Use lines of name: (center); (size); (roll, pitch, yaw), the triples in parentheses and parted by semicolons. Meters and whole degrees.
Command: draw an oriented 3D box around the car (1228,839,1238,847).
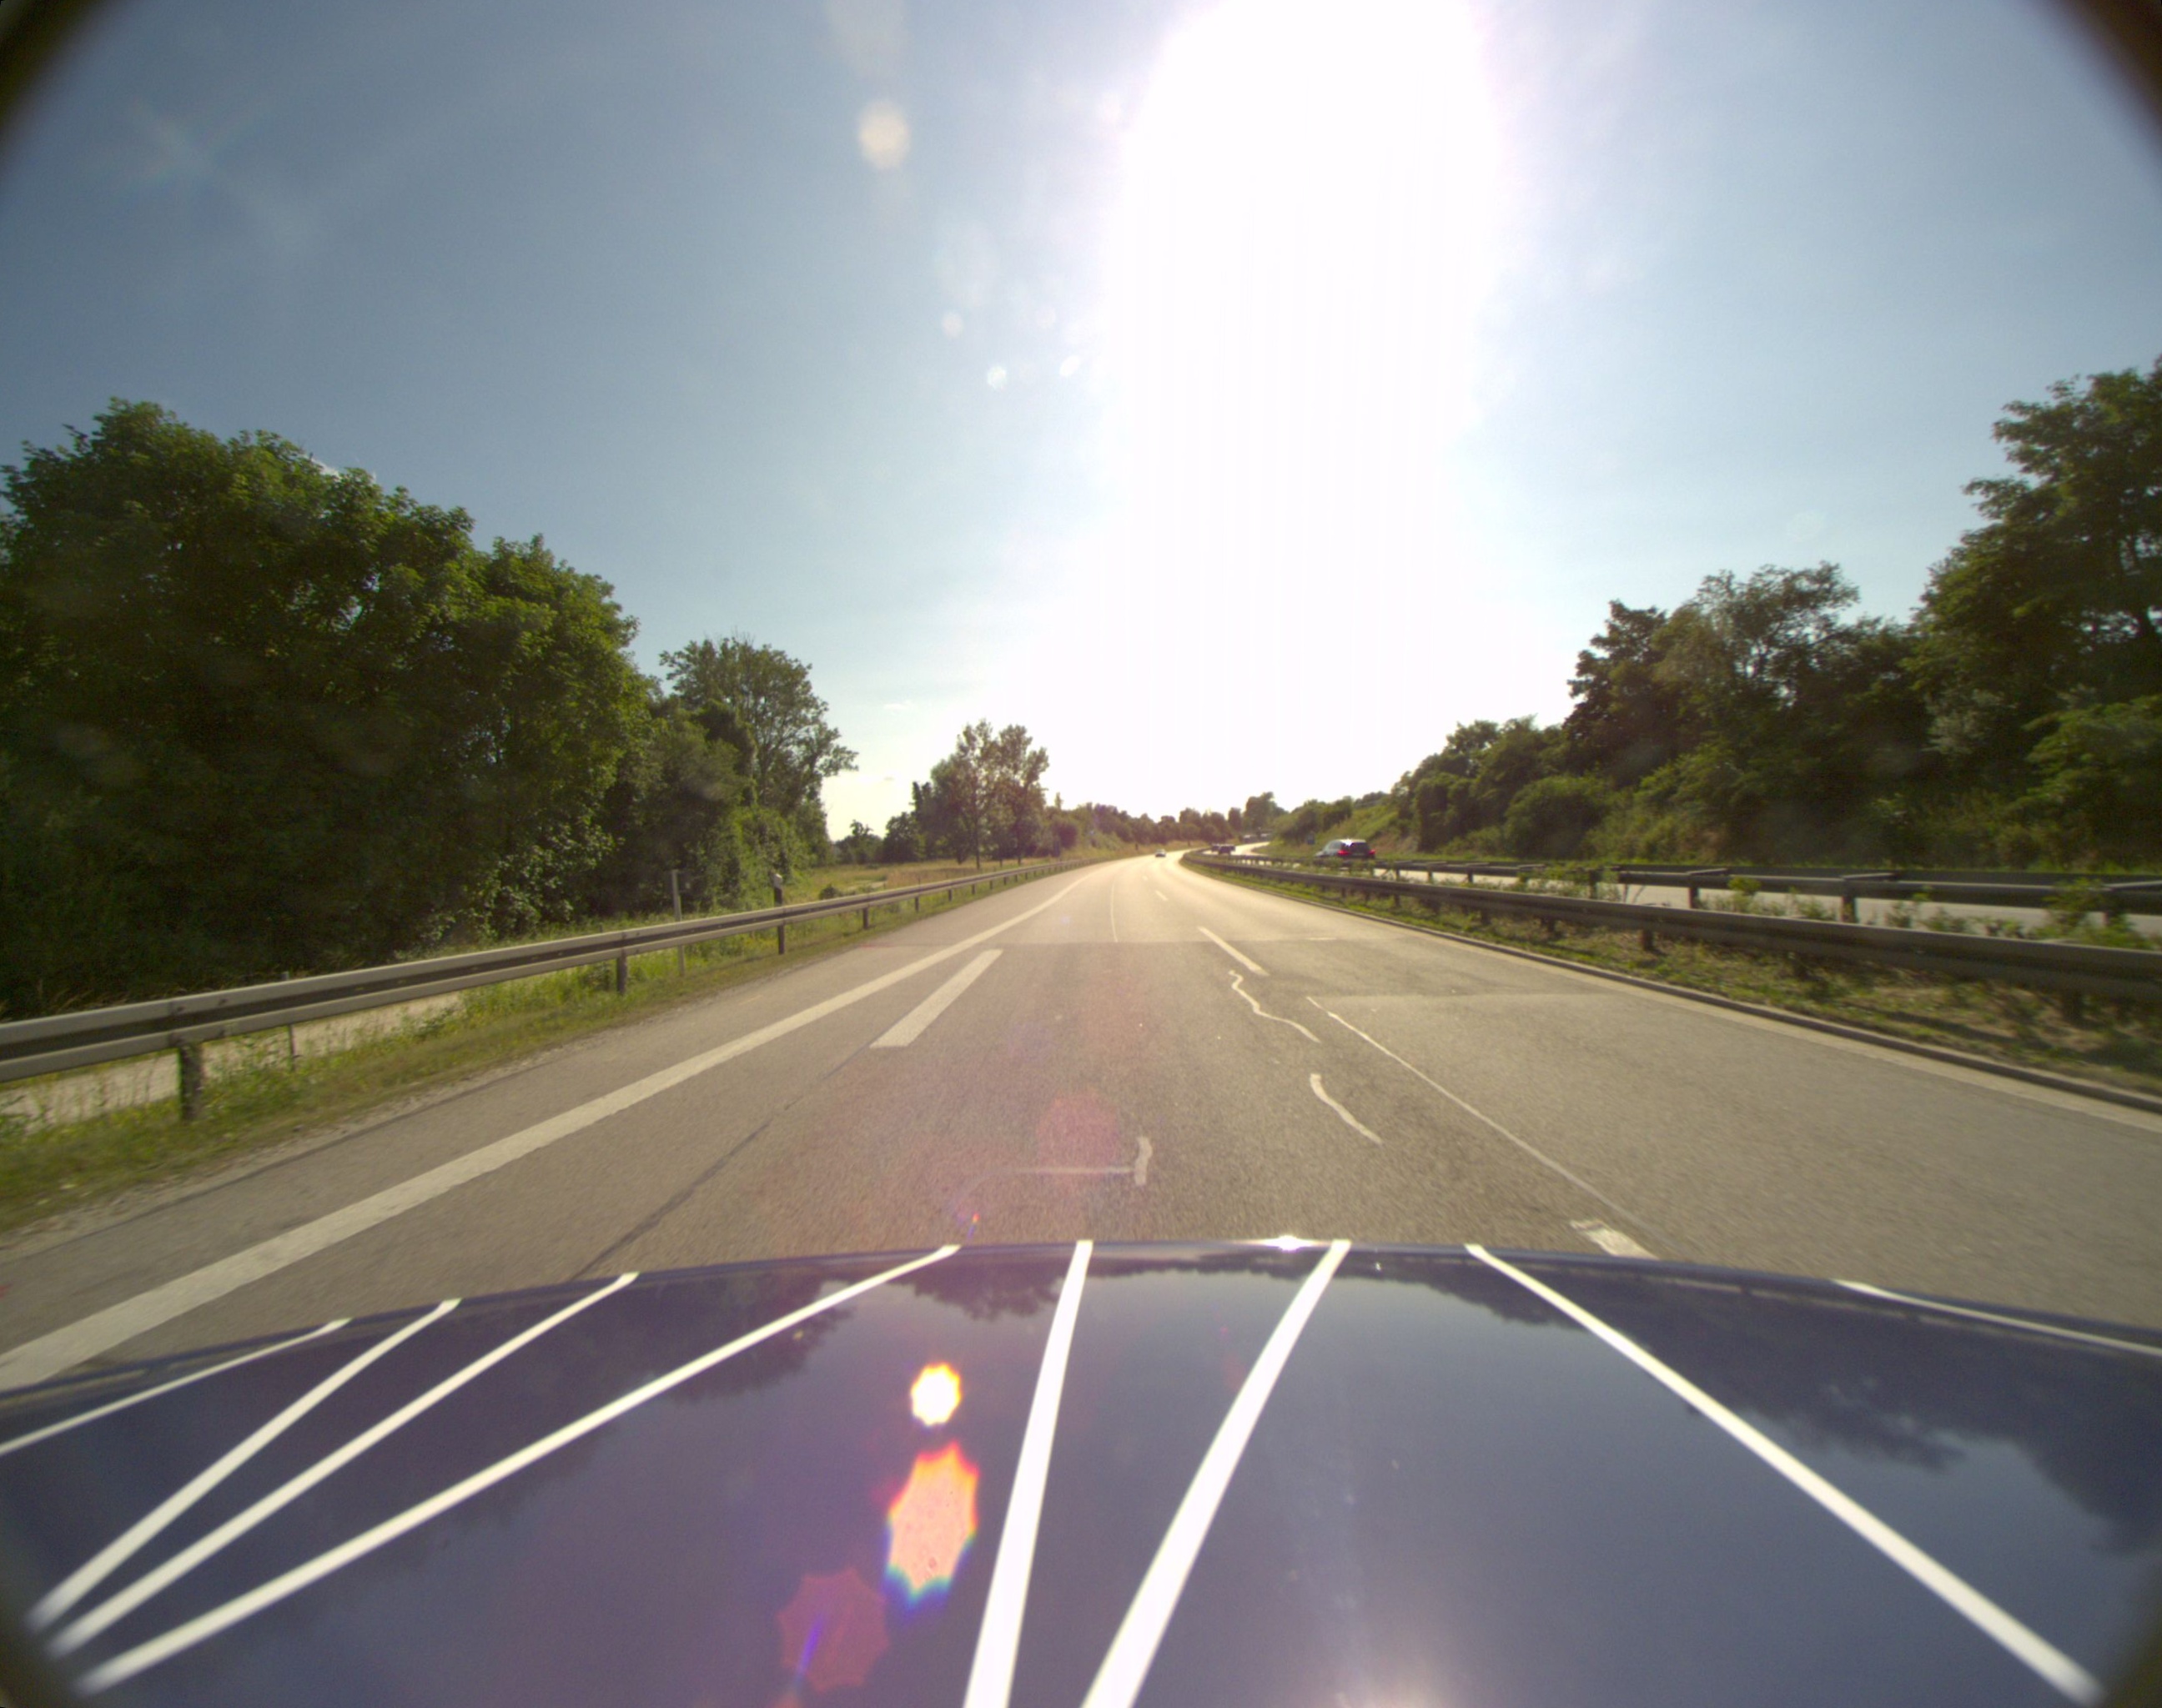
car: (33.354, -2.425, 166.936); (1.823, 1.471, 4.687); (-2, 1, 6)

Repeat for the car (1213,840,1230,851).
car: (22.004, -1.334, 119.234); (1.998, 1.642, 4.434); (-1, 1, 3)

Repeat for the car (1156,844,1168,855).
car: (15.246, -0.886, 143.175); (1.998, 2.002, 4.600); (-4, 1, 5)

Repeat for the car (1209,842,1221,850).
car: (27.960, -1.612, 158.807); (2.072, 1.669, 4.888); (-1, 1, 6)

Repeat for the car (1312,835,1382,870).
car: (12.261, -0.133, 35.408); (1.649, 1.446, 4.906); (-2, 2, 2)
